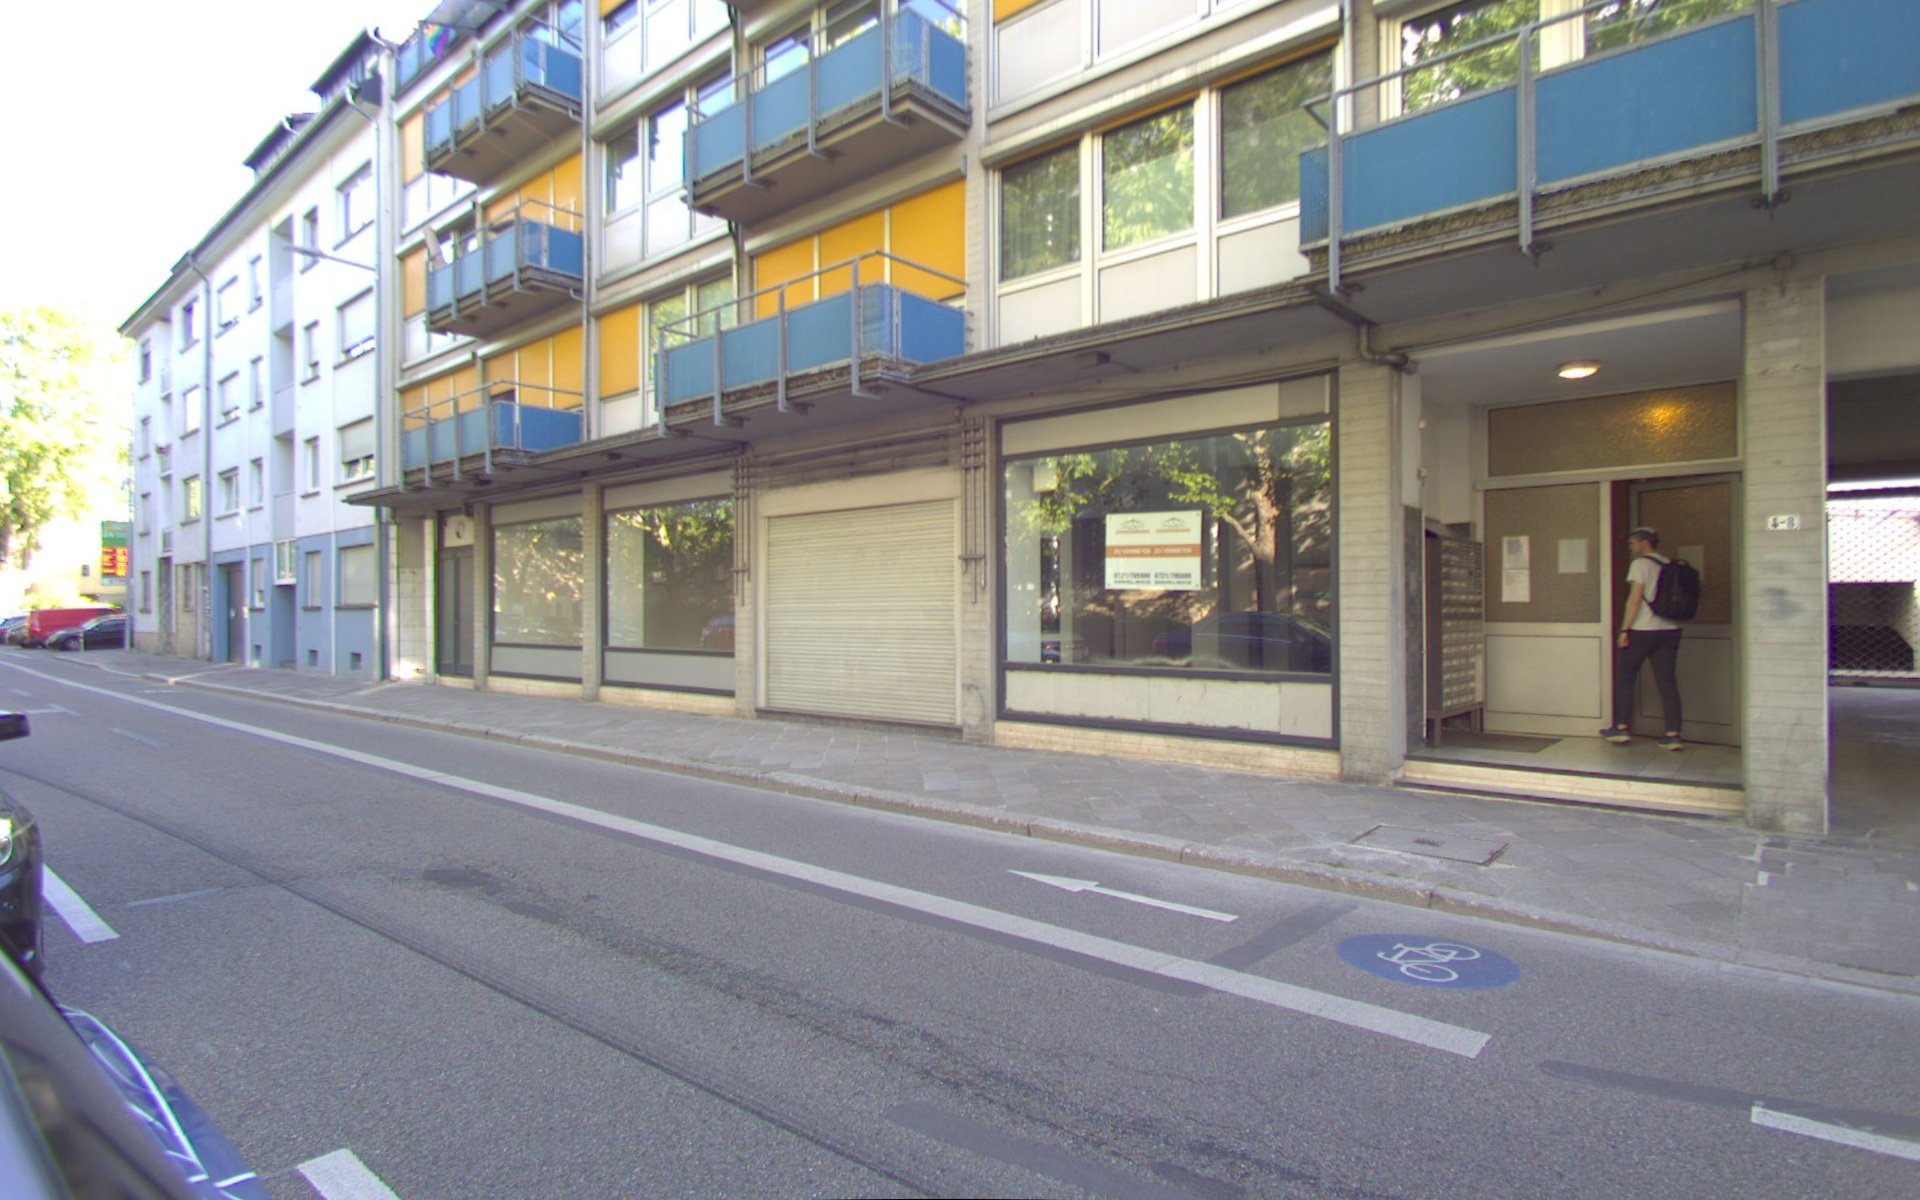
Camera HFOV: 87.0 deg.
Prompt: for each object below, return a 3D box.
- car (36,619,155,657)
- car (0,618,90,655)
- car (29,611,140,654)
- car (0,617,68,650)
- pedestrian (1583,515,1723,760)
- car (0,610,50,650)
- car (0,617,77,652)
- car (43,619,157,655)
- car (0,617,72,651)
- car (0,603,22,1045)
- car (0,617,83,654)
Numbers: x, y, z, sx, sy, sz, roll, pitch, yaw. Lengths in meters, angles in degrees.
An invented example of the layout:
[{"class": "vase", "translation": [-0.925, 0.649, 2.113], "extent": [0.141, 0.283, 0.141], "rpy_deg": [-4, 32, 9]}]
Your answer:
[{"class": "car", "translation": [-39.772, 1.726, 46.620], "extent": [2.000, 1.564, 3.944], "rpy_deg": [-1, 0, 42]}, {"class": "car", "translation": [-51.585, 2.012, 56.845], "extent": [2.000, 1.962, 3.944], "rpy_deg": [-1, 0, 42]}, {"class": "car", "translation": [-43.445, 1.574, 50.267], "extent": [2.000, 1.962, 3.944], "rpy_deg": [-1, 0, 42]}, {"class": "car", "translation": [-59.222, 2.111, 64.031], "extent": [2.000, 1.962, 3.944], "rpy_deg": [-1, 0, 42]}, {"class": "pedestrian", "translation": [5.680, 0.293, 8.311], "extent": [0.572, 1.894, 0.788], "rpy_deg": [-1, 0, -37]}, {"class": "car", "translation": [-62.813, 1.958, 66.800], "extent": [2.000, 2.538, 3.944], "rpy_deg": [-1, 0, 42]}, {"class": "car", "translation": [-55.616, 2.064, 60.580], "extent": [2.000, 1.962, 3.944], "rpy_deg": [-1, 0, 42]}, {"class": "car", "translation": [-41.190, 1.744, 48.542], "extent": [2.000, 1.564, 3.944], "rpy_deg": [-1, 0, 42]}, {"class": "car", "translation": [-57.422, 2.087, 62.298], "extent": [2.000, 1.962, 3.944], "rpy_deg": [-1, 0, 42]}, {"class": "car", "translation": [-5.538, 0.807, 4.294], "extent": [4.479, 1.512, 1.842], "rpy_deg": [-1, -1, 41]}, {"class": "car", "translation": [-53.535, 2.037, 58.627], "extent": [2.000, 1.962, 3.944], "rpy_deg": [-1, 0, 42]}]
